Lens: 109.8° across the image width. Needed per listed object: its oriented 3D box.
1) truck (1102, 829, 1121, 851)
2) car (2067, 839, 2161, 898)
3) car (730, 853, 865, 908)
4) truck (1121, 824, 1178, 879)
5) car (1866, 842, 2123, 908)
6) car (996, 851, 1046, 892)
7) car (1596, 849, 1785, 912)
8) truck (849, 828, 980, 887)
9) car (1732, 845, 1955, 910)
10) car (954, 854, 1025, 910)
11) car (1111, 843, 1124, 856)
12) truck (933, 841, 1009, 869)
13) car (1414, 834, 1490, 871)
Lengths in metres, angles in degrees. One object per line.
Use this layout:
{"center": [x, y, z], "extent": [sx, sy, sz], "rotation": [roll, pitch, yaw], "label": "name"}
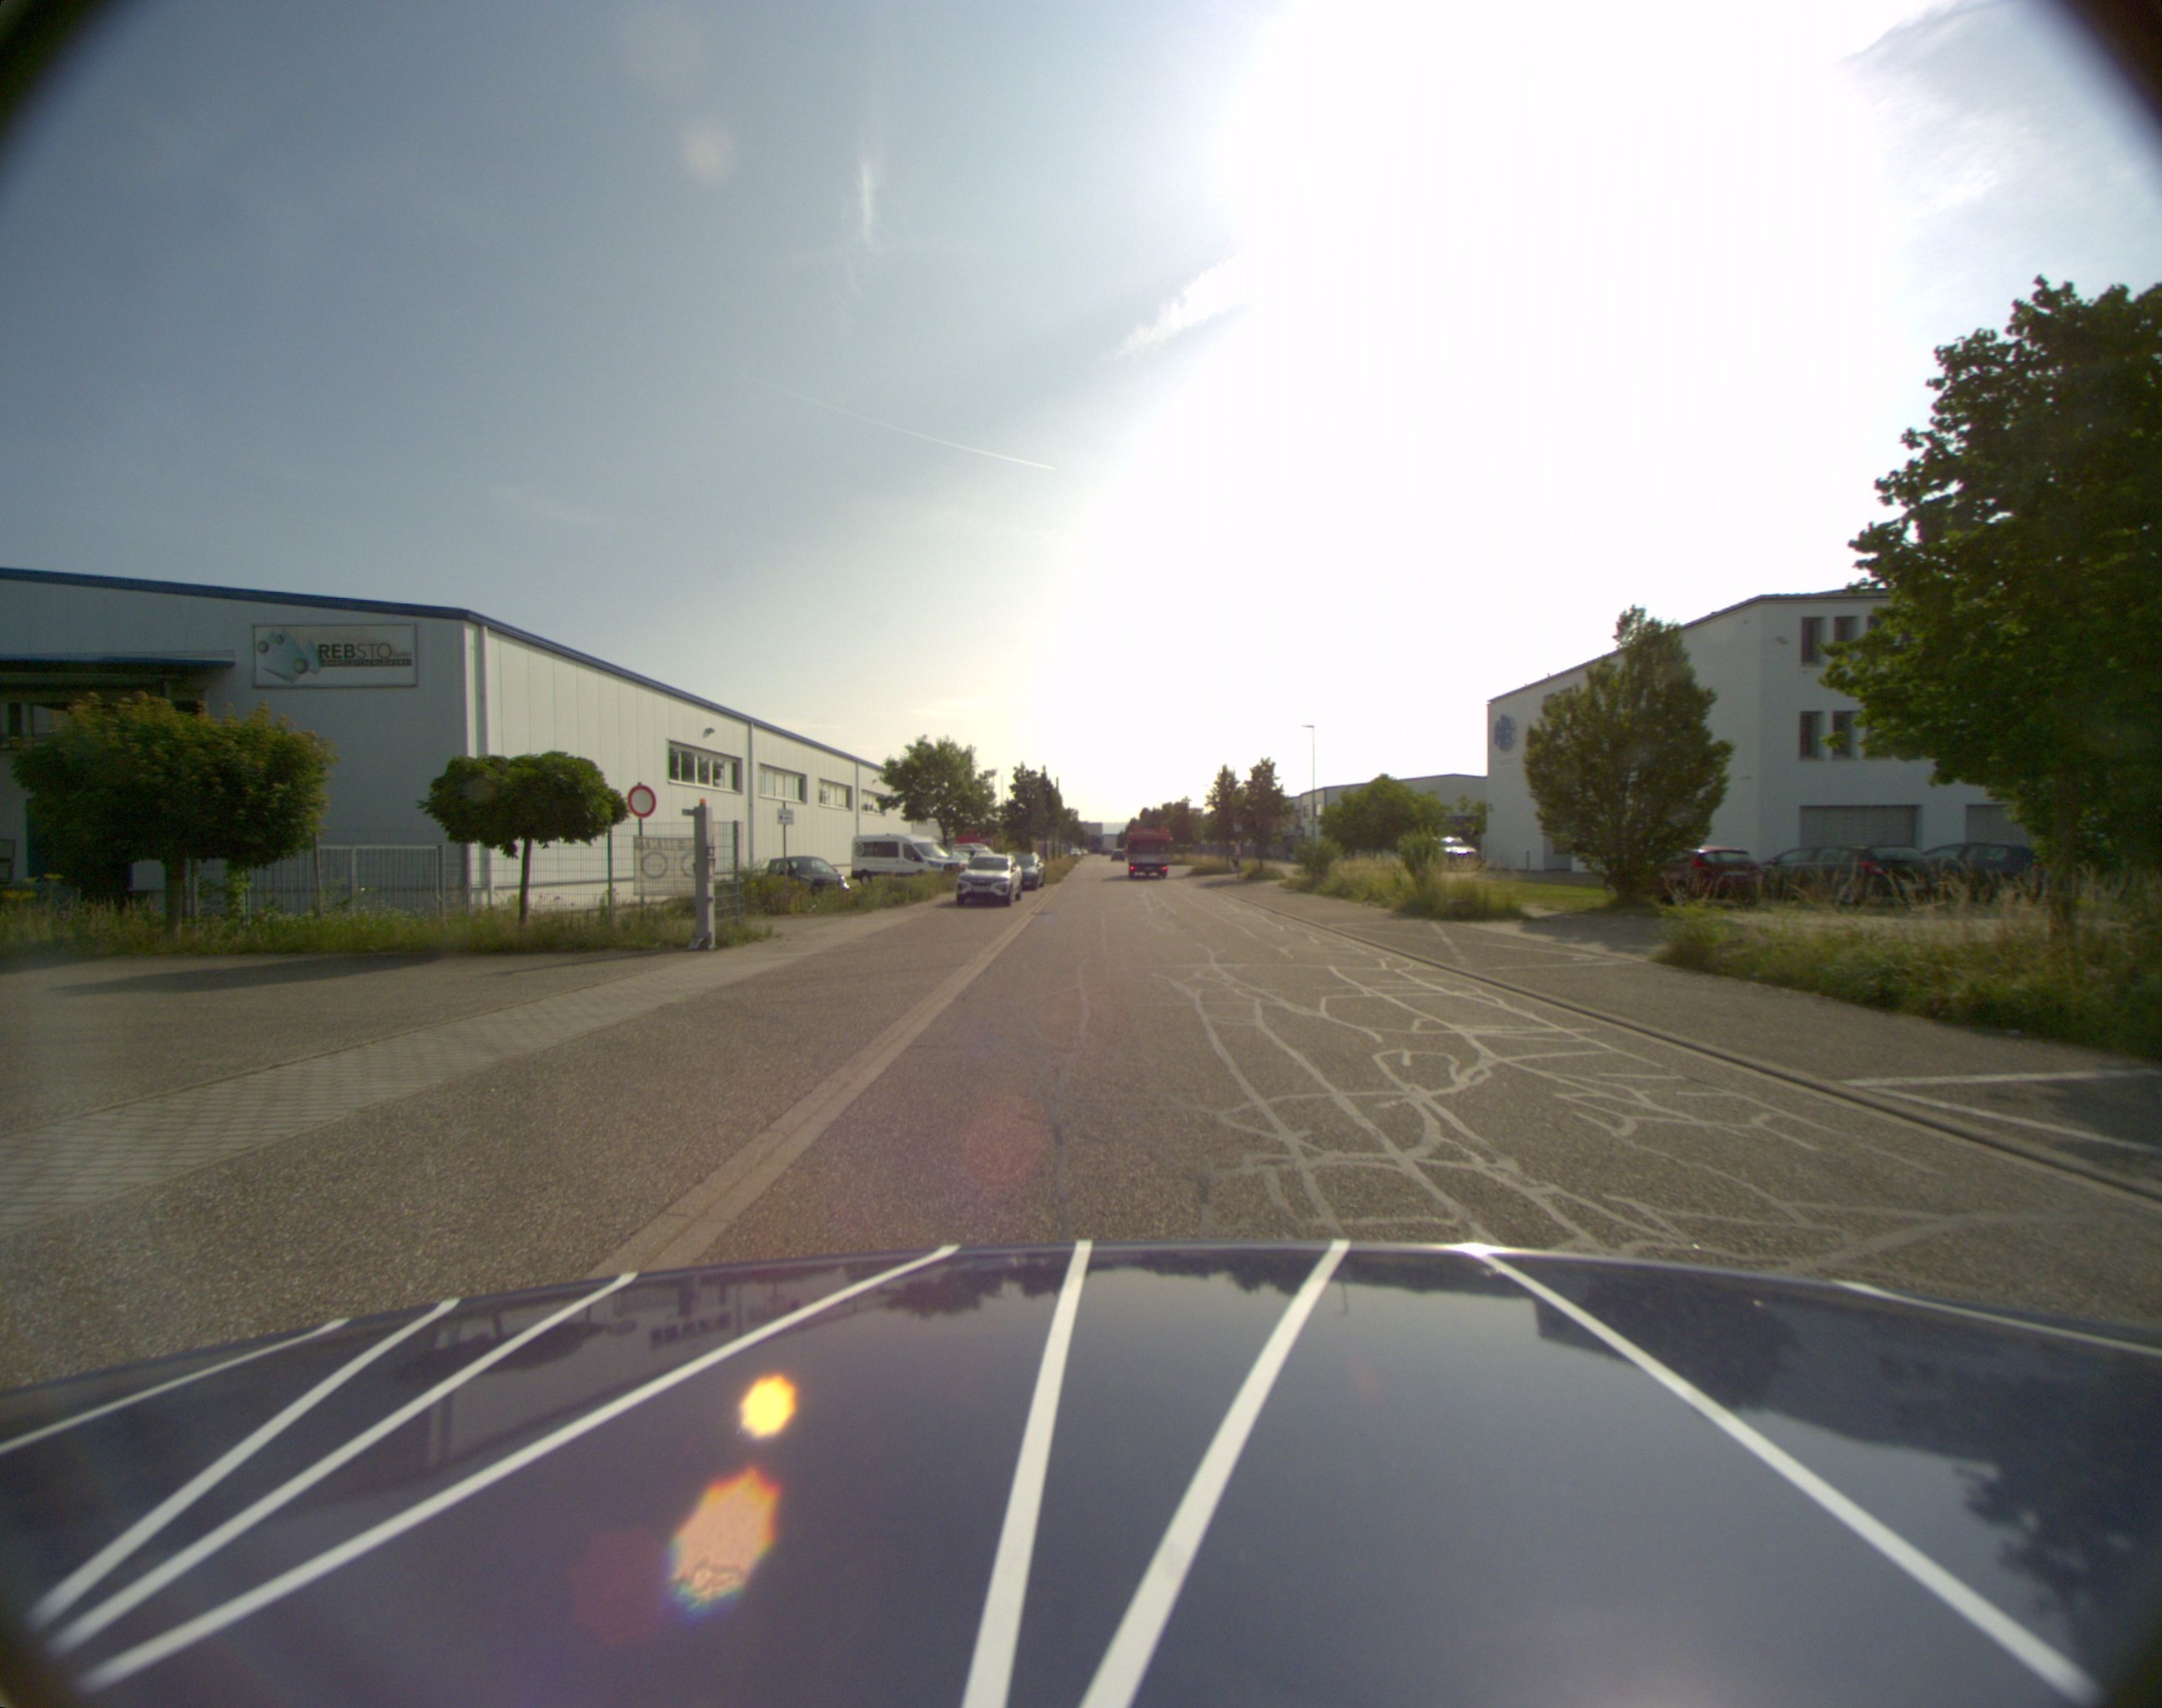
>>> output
{"center": [5.834, -2.676, 147.104], "extent": [3.413, 4.018, 10.394], "rotation": [-2, 1, 1], "label": "truck"}
{"center": [27.565, 0.360, 18.622], "extent": [1.758, 1.459, 3.918], "rotation": [-1, 1, 2], "label": "car"}
{"center": [-8.565, 0.735, 22.850], "extent": [3.988, 1.489, 1.902], "rotation": [0, 1, 37], "label": "car"}
{"center": [3.832, -0.200, 44.291], "extent": [2.513, 2.817, 8.842], "rotation": [2, 1, 1], "label": "truck"}
{"center": [22.331, 0.441, 18.858], "extent": [1.758, 1.459, 3.918], "rotation": [-1, 1, 2], "label": "car"}
{"center": [-2.390, 0.672, 30.917], "extent": [1.694, 1.495, 3.541], "rotation": [1, 1, 1], "label": "car"}
{"center": [15.194, 0.600, 19.244], "extent": [1.758, 1.401, 3.918], "rotation": [-1, 1, 2], "label": "car"}
{"center": [-7.768, 0.113, 35.175], "extent": [6.193, 2.516, 2.280], "rotation": [0, 1, 34], "label": "truck"}
{"center": [18.821, 0.511, 19.055], "extent": [1.758, 1.459, 3.918], "rotation": [-1, 1, 2], "label": "car"}
{"center": [-2.709, 0.781, 23.149], "extent": [1.668, 1.495, 3.541], "rotation": [1, 1, 1], "label": "car"}
{"center": [4.747, -0.607, 99.326], "extent": [1.668, 1.495, 3.540], "rotation": [-1, 2, 1], "label": "car"}
{"center": [-8.256, 0.057, 56.658], "extent": [5.814, 2.010, 2.280], "rotation": [0, 1, 39], "label": "truck"}
{"center": [19.661, -0.101, 40.517], "extent": [1.998, 1.827, 4.695], "rotation": [-1, 1, 3], "label": "car"}
